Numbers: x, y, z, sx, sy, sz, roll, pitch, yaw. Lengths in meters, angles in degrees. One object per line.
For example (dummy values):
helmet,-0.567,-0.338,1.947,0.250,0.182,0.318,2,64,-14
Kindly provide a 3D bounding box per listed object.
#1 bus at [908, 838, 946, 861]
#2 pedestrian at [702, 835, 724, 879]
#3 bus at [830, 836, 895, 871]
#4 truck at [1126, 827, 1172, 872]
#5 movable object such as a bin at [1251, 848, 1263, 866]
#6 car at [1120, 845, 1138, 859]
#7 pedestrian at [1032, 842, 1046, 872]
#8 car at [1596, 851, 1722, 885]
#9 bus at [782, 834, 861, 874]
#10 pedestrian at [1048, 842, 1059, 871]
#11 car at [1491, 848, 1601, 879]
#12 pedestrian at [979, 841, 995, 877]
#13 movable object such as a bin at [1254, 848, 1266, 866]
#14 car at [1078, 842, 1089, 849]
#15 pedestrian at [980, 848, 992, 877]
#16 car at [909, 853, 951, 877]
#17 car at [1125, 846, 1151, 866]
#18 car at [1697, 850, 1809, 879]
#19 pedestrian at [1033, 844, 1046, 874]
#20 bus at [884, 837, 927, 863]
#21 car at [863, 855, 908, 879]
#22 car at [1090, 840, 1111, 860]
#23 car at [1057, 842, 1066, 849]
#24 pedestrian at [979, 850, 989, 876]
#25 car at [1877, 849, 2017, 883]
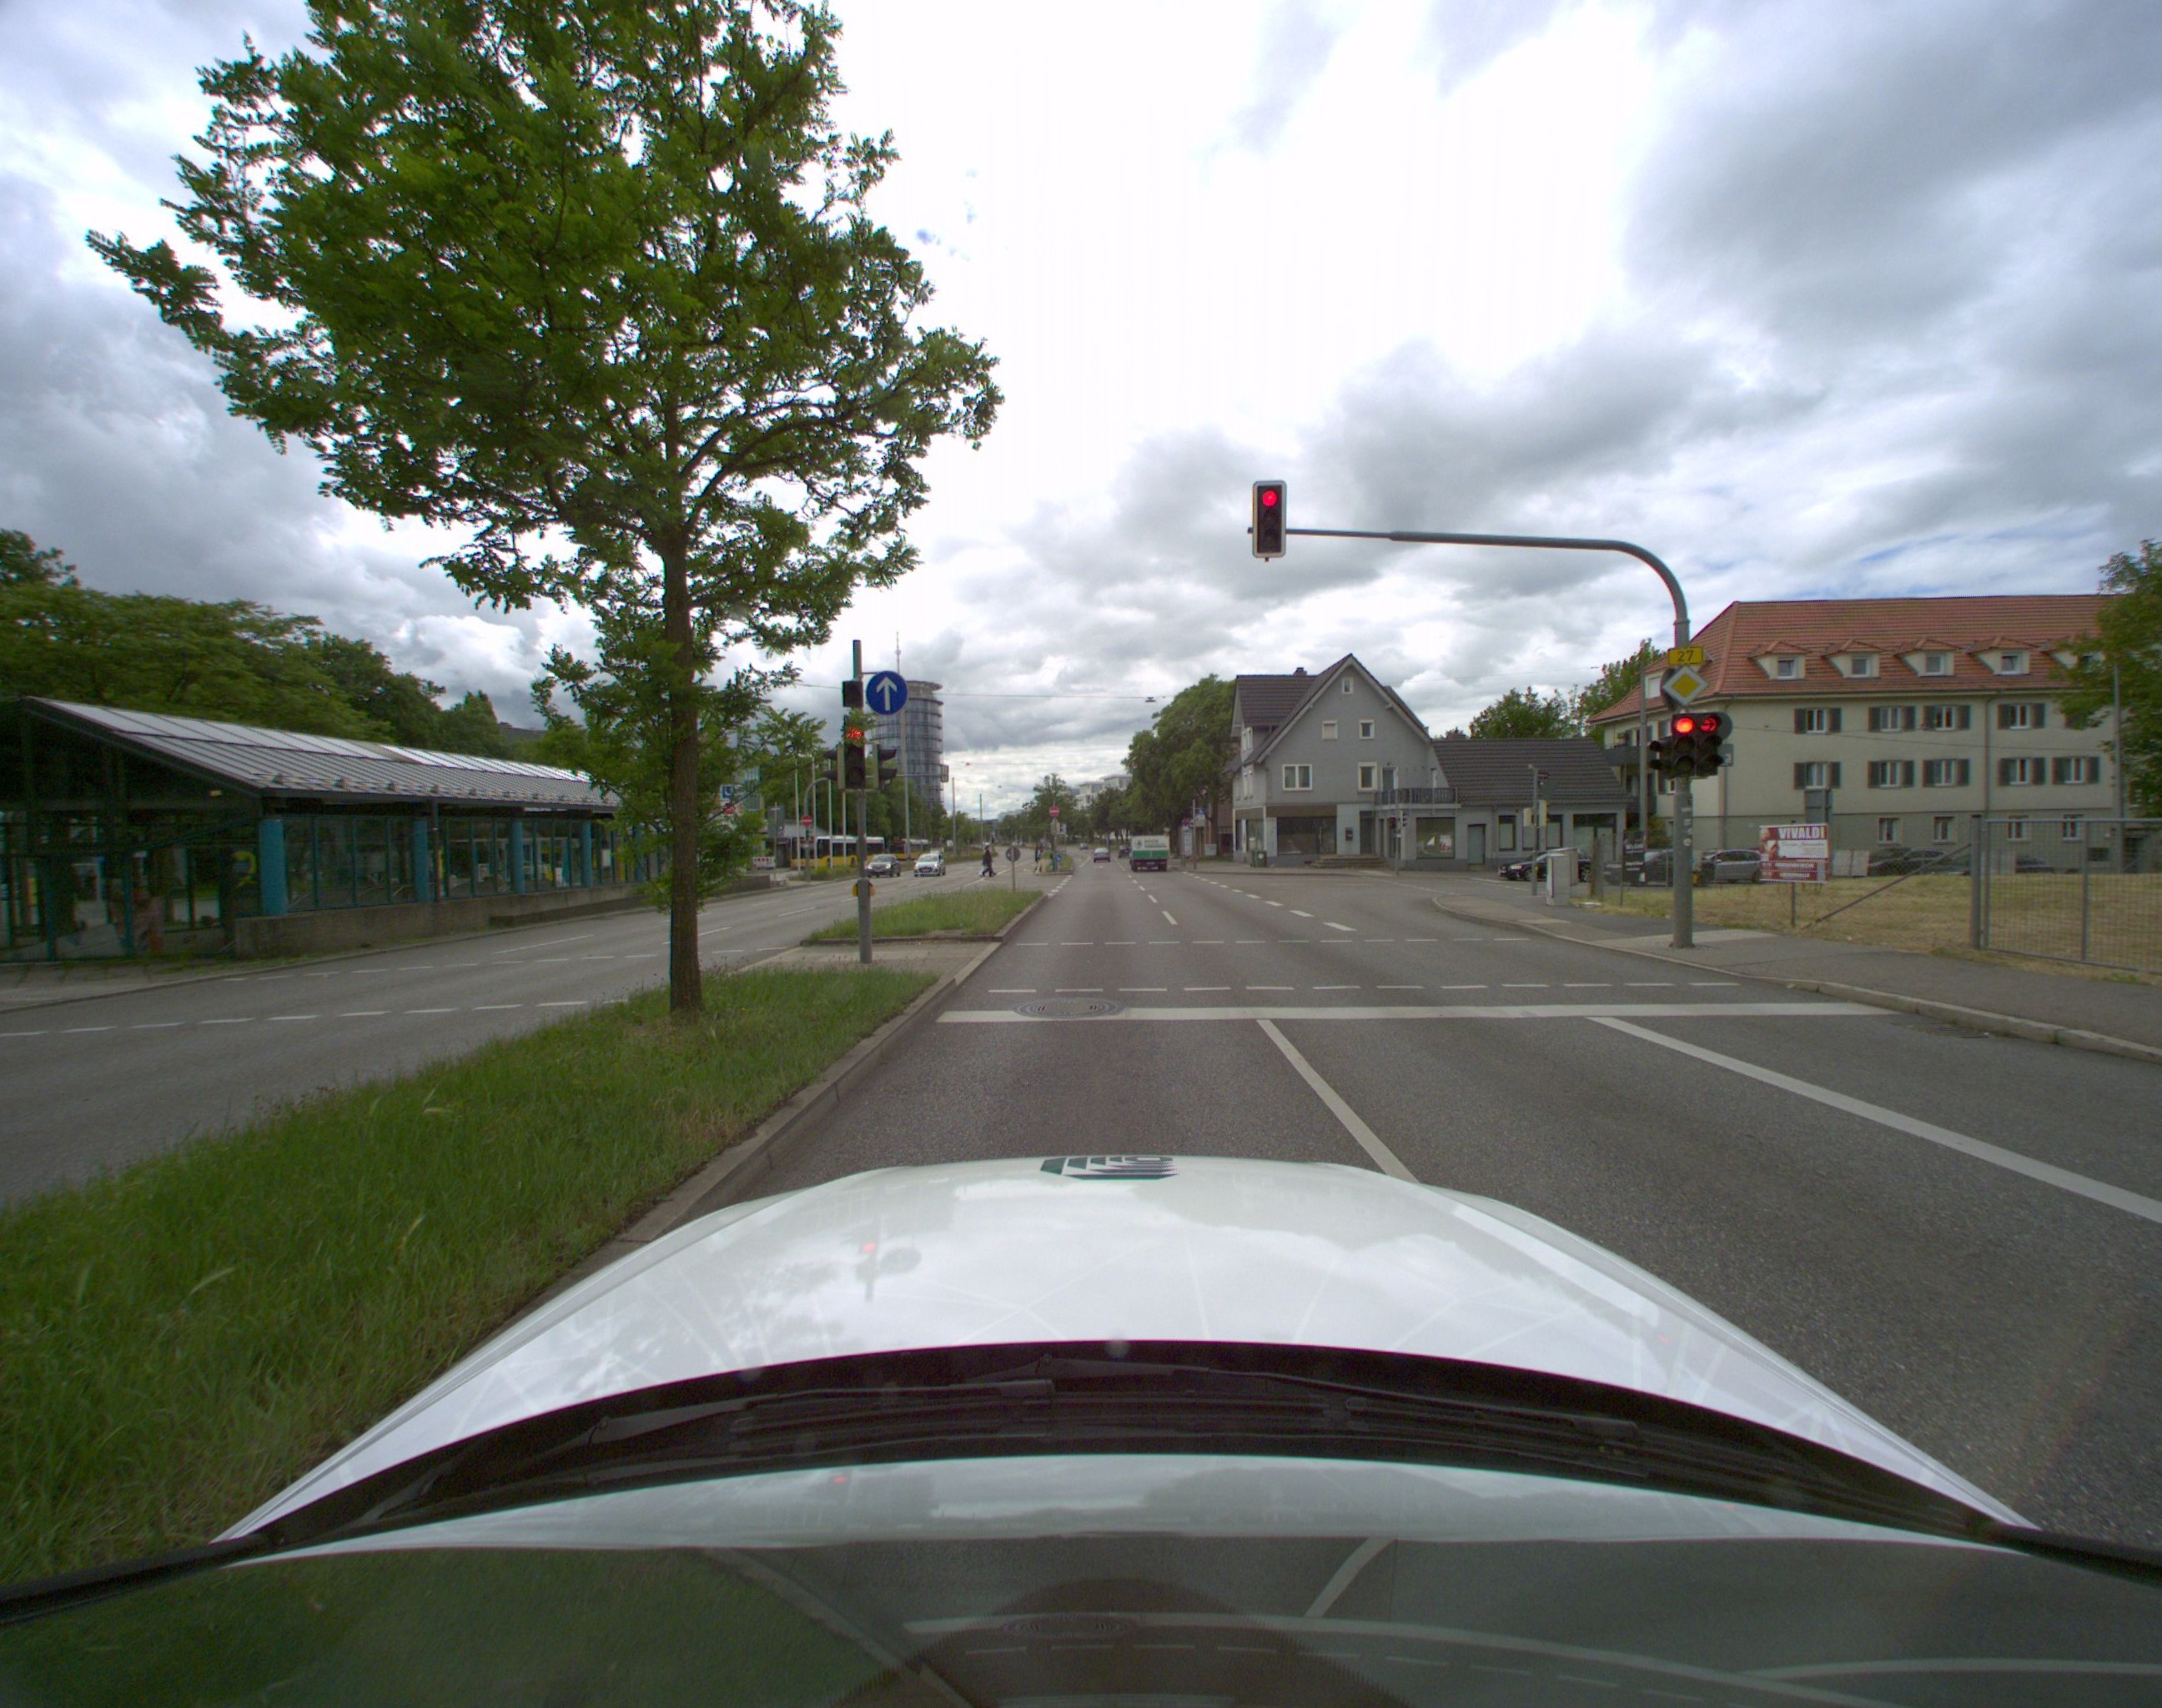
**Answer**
bus,-24.214,-0.743,128.685,2.817,3.430,10.751,-2,0,6
pedestrian,-17.113,0.126,37.865,0.679,2.013,0.645,-2,0,-3
bus,-22.938,-0.094,86.300,2.817,3.430,10.751,-2,0,6
truck,4.129,-0.326,50.864,2.462,2.611,6.550,0,1,1
movable object such as a bin,10.229,0.187,47.374,0.613,1.043,0.590,0,0,3
car,5.480,-0.268,93.942,1.986,1.552,4.002,0,0,2
pedestrian,-2.428,0.188,47.233,0.744,1.716,0.582,-2,0,-5
car,24.274,0.580,34.290,4.075,1.371,1.800,0,0,0
bus,-23.998,-0.041,76.150,2.817,3.430,10.751,-2,0,6
pedestrian,-1.625,0.168,48.488,0.582,1.716,0.545,-2,0,-5
car,21.487,0.438,37.716,4.075,1.371,1.800,0,0,0
pedestrian,-5.363,0.257,46.324,0.828,2.013,0.545,-2,0,-5
movable object such as a bin,10.242,0.163,46.690,0.602,1.059,0.590,0,0,3
car,0.480,-1.864,185.090,1.992,1.552,3.990,-2,0,-7
pedestrian,-5.591,0.490,48.073,0.611,1.716,0.545,-2,0,-5
car,-10.026,0.687,54.342,1.987,1.486,4.000,-2,0,0
car,4.580,0.140,66.003,1.986,1.552,4.002,0,0,2
car,33.057,0.493,40.135,4.075,1.371,1.800,0,0,0
pedestrian,-2.387,0.285,46.677,0.652,1.716,0.451,-2,0,-5
bus,-25.318,-0.582,117.964,2.817,3.430,10.751,-2,0,6
car,-13.064,0.829,54.723,1.987,1.486,4.000,-2,0,0
car,1.901,-0.374,80.339,1.986,1.830,4.002,-2,0,2
car,-4.351,-1.848,179.631,1.988,1.519,3.997,-2,1,-2
pedestrian,-5.635,0.513,47.305,0.542,1.496,0.485,-2,0,-7
car,36.762,0.492,34.634,4.075,1.371,1.800,0,0,0
